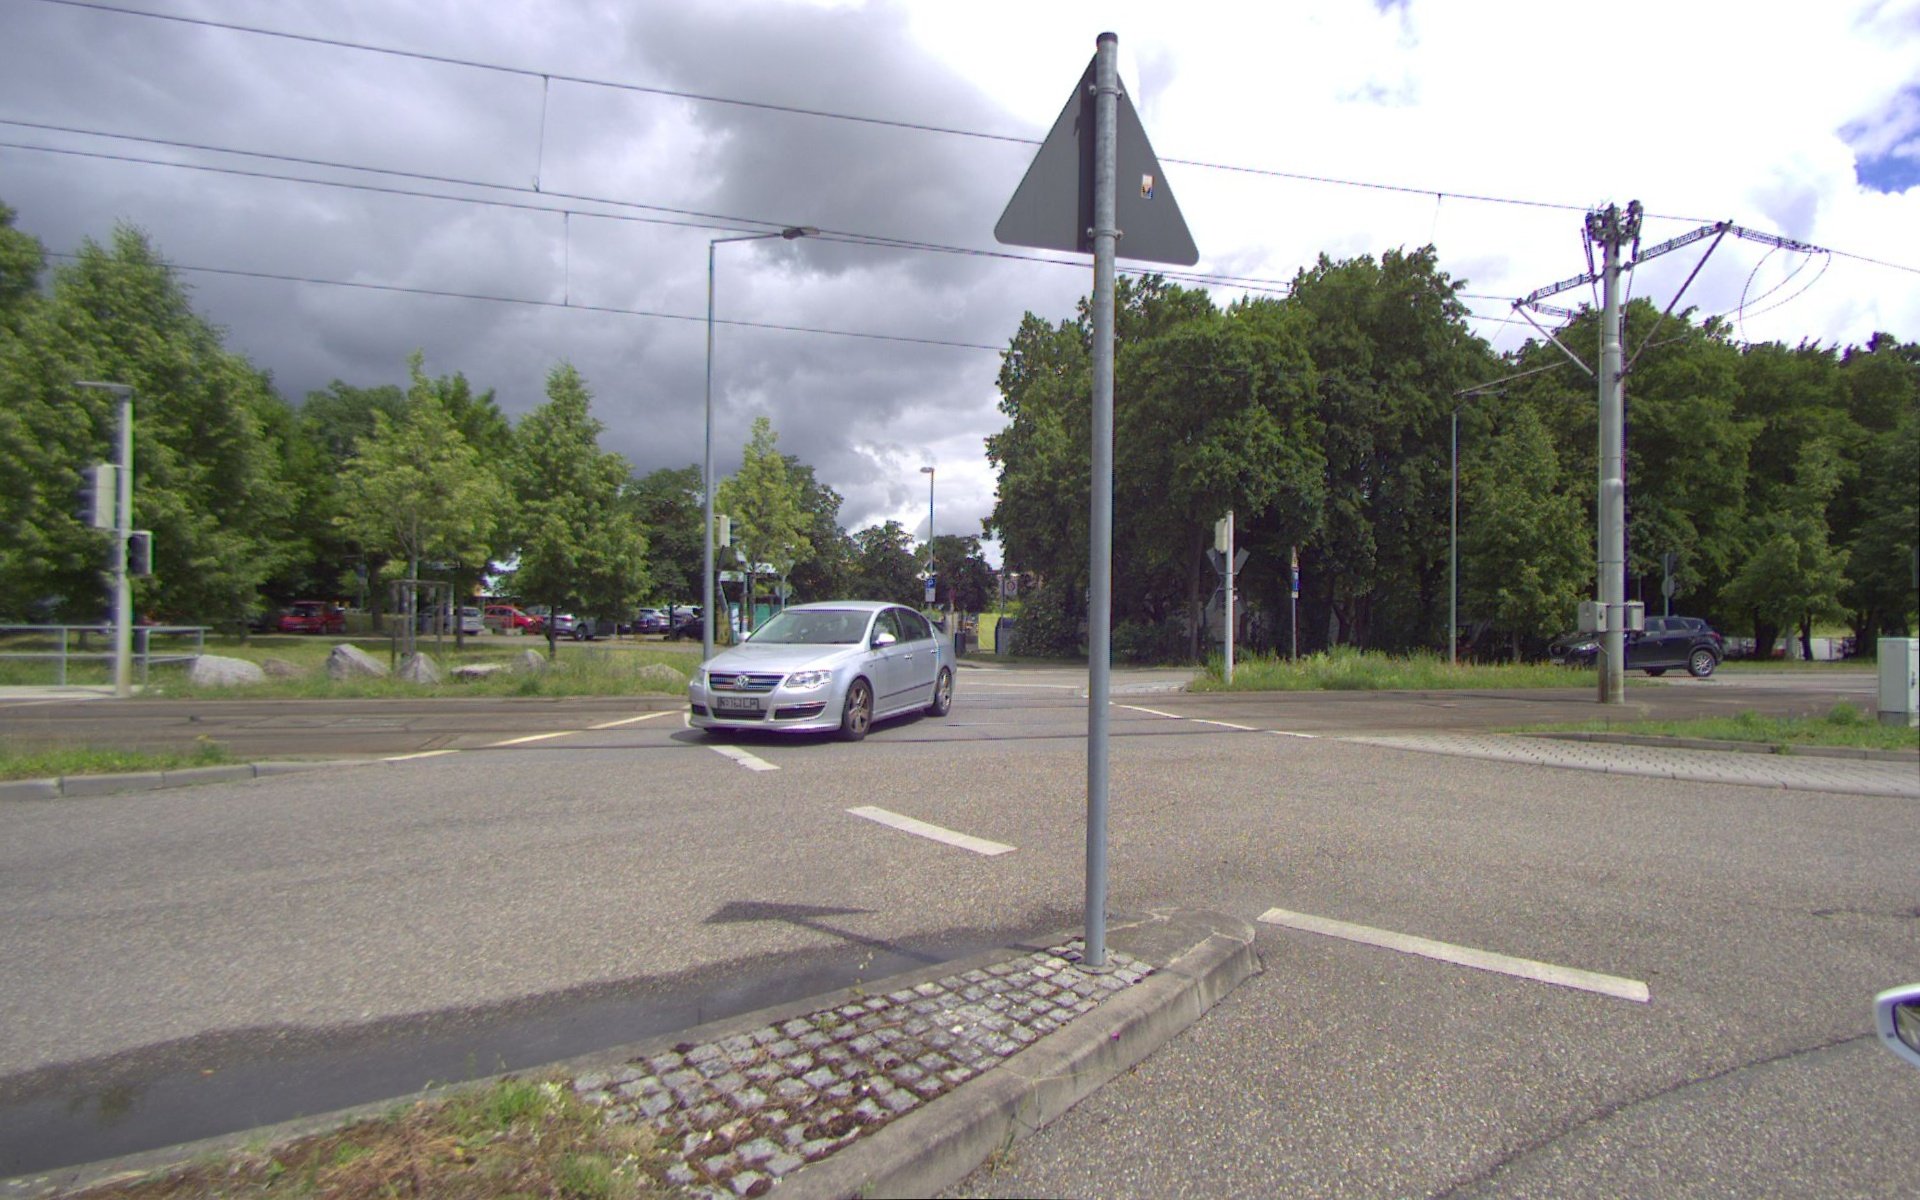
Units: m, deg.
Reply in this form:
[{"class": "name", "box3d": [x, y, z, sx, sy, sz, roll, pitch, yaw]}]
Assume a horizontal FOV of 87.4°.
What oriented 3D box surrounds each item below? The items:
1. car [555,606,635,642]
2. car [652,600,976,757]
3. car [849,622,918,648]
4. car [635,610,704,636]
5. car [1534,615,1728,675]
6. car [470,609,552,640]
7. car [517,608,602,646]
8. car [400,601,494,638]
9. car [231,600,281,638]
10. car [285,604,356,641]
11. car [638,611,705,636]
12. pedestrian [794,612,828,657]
[{"class": "car", "box3d": [-18.491, 1.234, 50.889, 3.521, 1.611, 1.996, 3, -1, 30]}, {"class": "car", "box3d": [-1.406, 0.760, 11.827, 1.902, 1.400, 4.662, 2, 0, 18]}, {"class": "car", "box3d": [-4.761, 2.172, 62.580, 3.919, 1.439, 1.608, 2, 0, 11]}, {"class": "car", "box3d": [-18.497, 1.470, 64.100, 1.965, 1.617, 3.991, 0, -1, 31]}, {"class": "car", "box3d": [18.656, 1.249, 28.043, 4.242, 1.606, 1.859, 0, -2, -4]}, {"class": "car", "box3d": [-24.400, 1.327, 54.650, 3.512, 1.610, 2.001, 0, -2, 4]}, {"class": "car", "box3d": [-19.252, 1.296, 48.249, 3.521, 1.611, 1.996, 3, -1, 30]}, {"class": "car", "box3d": [-24.984, 0.943, 48.900, 3.923, 1.706, 1.999, 0, -1, 23]}, {"class": "car", "box3d": [-31.546, 0.881, 45.073, 1.611, 1.610, 3.588, 2, -3, -32]}, {"class": "car", "box3d": [-29.267, 1.068, 46.105, 1.601, 1.610, 3.611, 1, -2, -13]}, {"class": "car", "box3d": [-19.231, 1.588, 67.102, 1.965, 1.617, 3.991, 0, -1, 31]}, {"class": "pedestrian", "box3d": [-5.067, 1.171, 34.149, 0.883, 1.477, 0.747, 2, 0, 40]}]
